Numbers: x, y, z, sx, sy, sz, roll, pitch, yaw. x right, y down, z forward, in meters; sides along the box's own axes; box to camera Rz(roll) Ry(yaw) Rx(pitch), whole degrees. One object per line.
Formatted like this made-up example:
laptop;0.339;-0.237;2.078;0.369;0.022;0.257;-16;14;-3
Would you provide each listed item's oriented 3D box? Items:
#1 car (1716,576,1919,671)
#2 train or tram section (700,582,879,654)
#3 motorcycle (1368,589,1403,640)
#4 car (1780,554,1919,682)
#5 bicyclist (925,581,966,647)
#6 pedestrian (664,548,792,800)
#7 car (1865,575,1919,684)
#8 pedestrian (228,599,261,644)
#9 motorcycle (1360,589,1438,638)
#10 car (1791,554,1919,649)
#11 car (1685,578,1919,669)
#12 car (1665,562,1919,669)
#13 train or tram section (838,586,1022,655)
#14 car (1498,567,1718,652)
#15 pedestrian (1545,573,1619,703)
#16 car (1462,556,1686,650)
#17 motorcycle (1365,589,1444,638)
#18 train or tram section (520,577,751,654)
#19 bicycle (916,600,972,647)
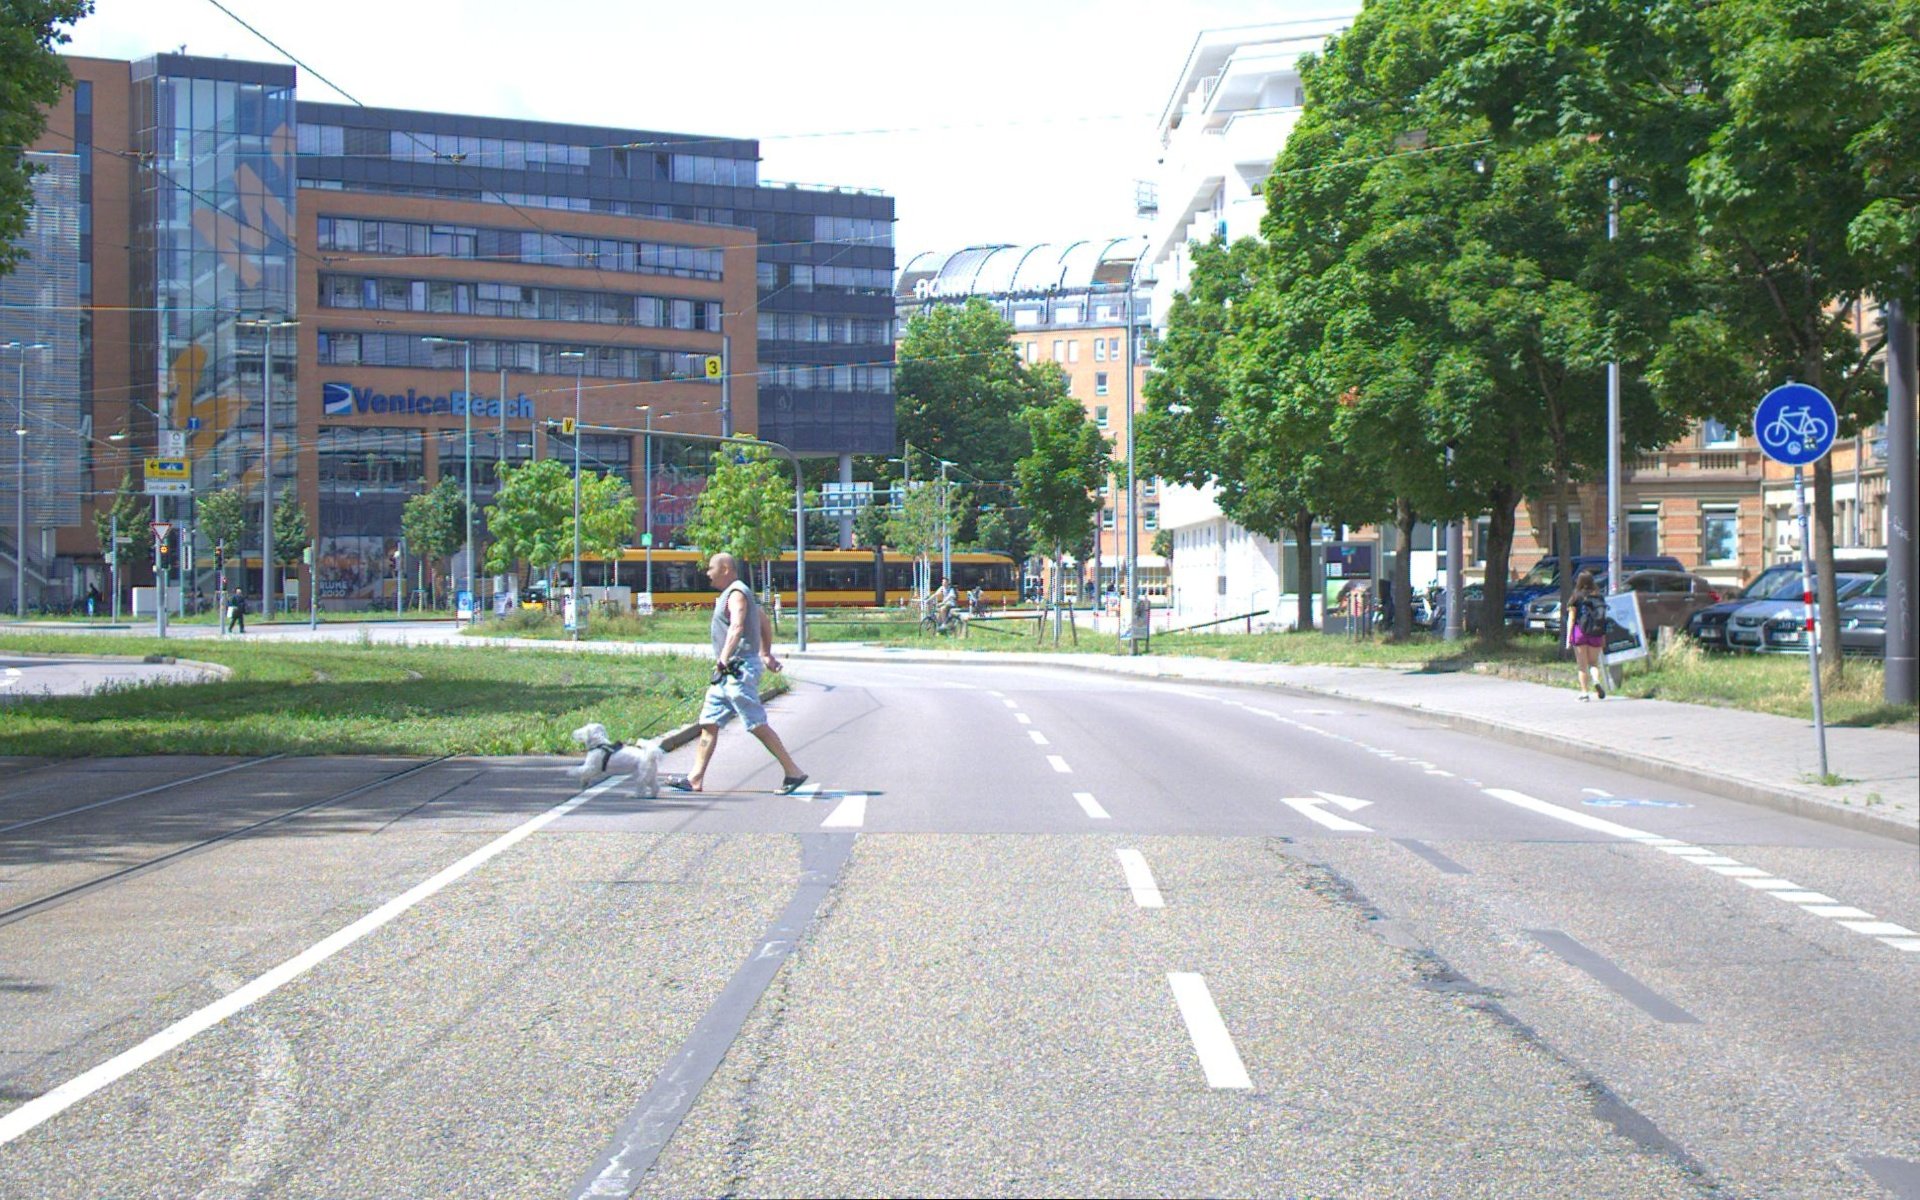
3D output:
car;13.903;0.378;52.557;4.678;1.375;1.852;1;0;-34
train or tram section;-8.851;0.984;180.584;3.061;3.591;10.969;1;0;36
motorcycle;9.864;0.325;79.625;0.638;1.163;1.905;0;0;12
car;13.784;0.272;48.624;4.352;1.735;1.852;1;0;-36
bicyclist;-0.417;0.387;96.870;0.695;1.818;0.955;-2;1;31
pedestrian;-1.592;0.502;23.697;0.781;1.698;0.702;1;0;2
car;13.952;0.416;44.857;4.256;1.375;1.852;1;0;-36
pedestrian;-27.166;0.823;130.572;0.917;1.696;0.807;-1;0;24
motorcycle;10.610;0.319;83.151;1.783;1.163;0.640;0;0;-2
car;21.701;0.058;82.655;2.111;2.171;5.394;1;0;0
car;13.880;0.389;55.791;4.072;1.401;1.852;1;0;-35
car;14.298;0.266;58.967;4.136;1.735;1.852;1;0;-31
train or tram section;-1.551;1.162;190.120;3.062;3.609;12.608;1;0;37
car;13.483;0.200;71.533;4.160;1.650;1.917;1;0;-27
pedestrian;7.700;0.467;42.603;0.700;1.587;0.905;1;0;-1
car;13.328;0.071;74.522;4.614;1.921;1.917;1;0;-31
motorcycle;10.627;0.322;82.269;1.783;1.163;0.640;0;0;-2
train or tram section;-15.981;0.810;170.689;3.223;3.587;13.471;1;0;36
bicycle;-0.451;0.667;96.786;0.695;1.238;1.836;-2;1;30
